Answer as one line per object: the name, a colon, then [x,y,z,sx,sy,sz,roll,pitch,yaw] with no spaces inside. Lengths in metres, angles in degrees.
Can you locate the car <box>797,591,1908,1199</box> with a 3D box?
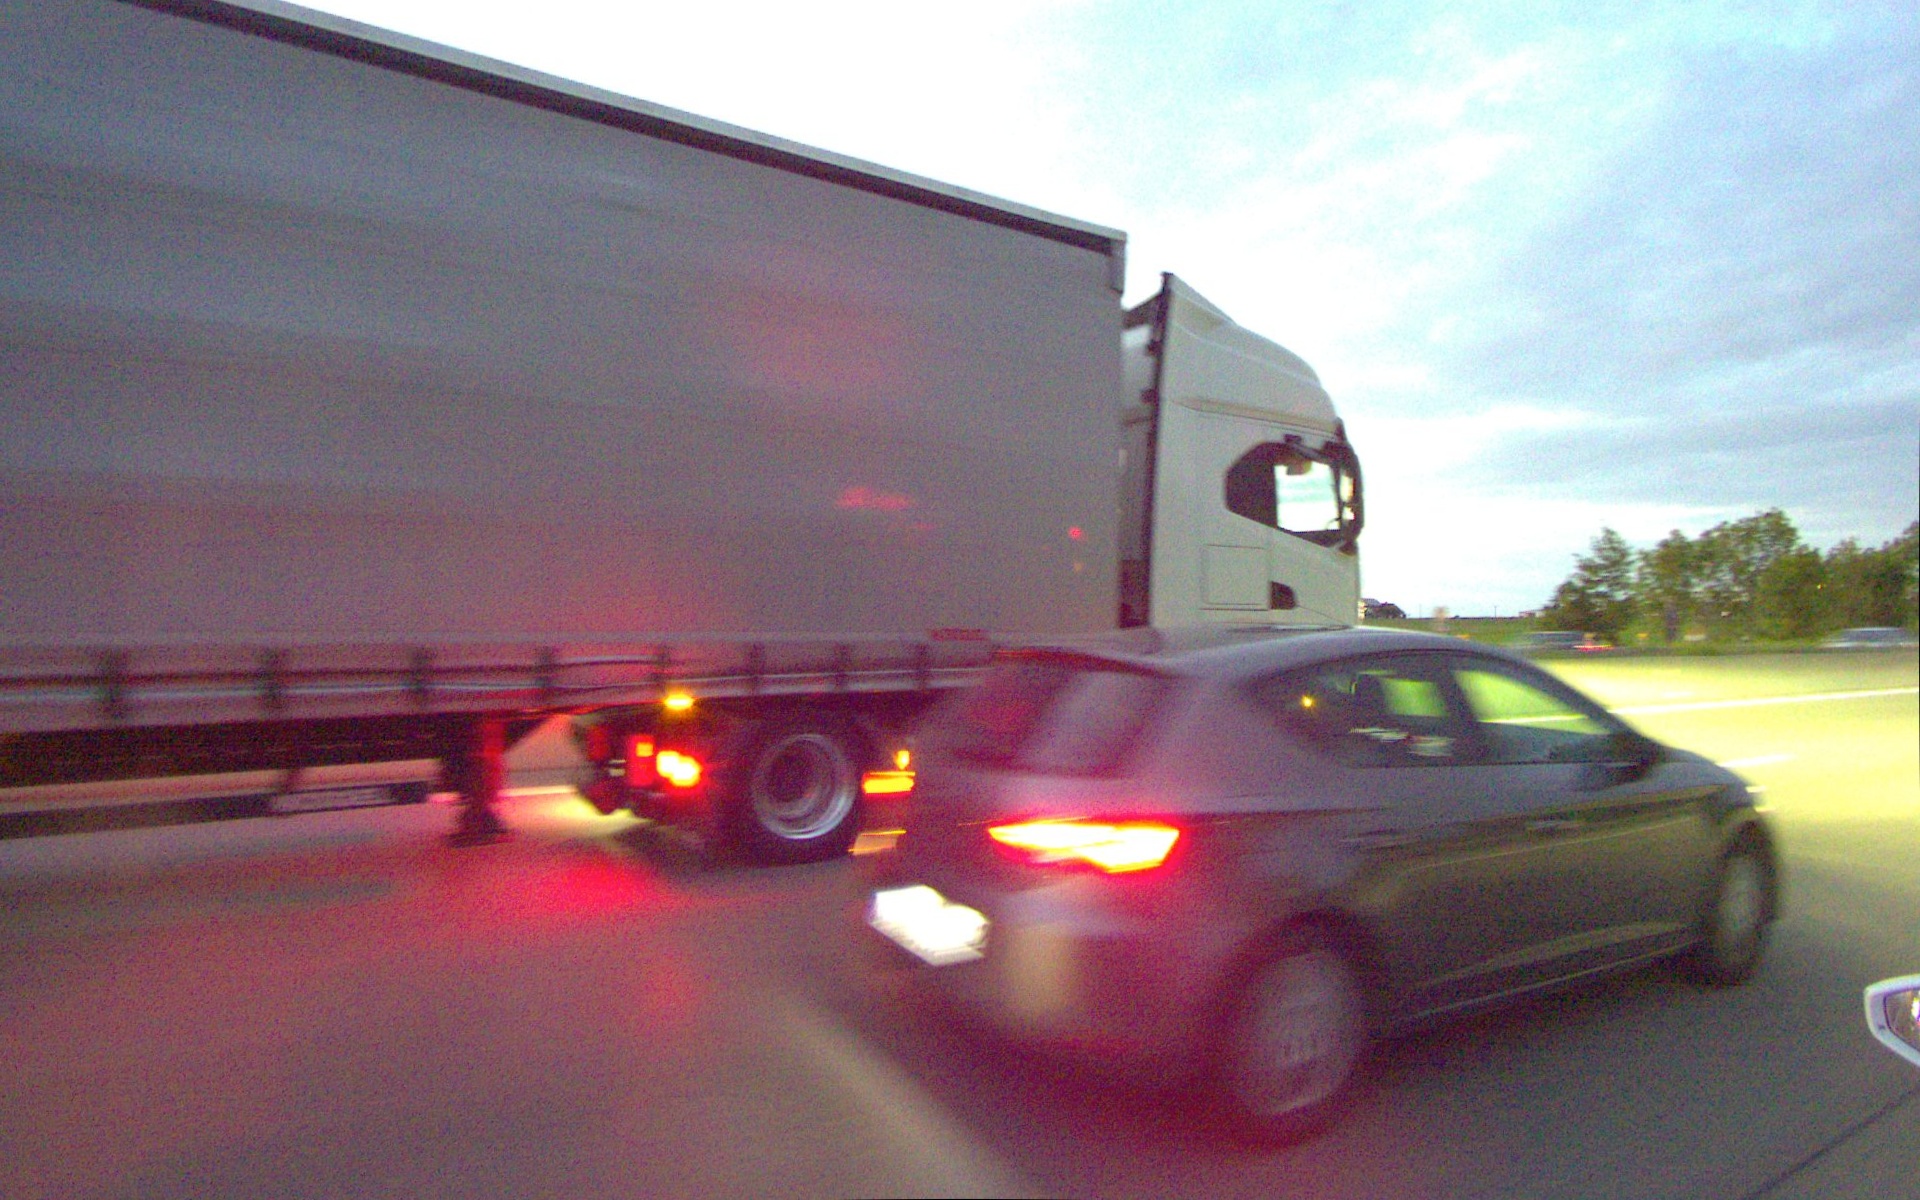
car: [1.847,0.786,4.160,4.669,1.491,1.715,2,0,-29]

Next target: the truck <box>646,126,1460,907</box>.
truck: [0.902,-0.355,8.060,6.032,4.146,2.764,2,-2,-30]

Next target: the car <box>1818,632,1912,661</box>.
car: [34.252,1.758,38.018,3.524,1.002,1.684,2,-1,-31]

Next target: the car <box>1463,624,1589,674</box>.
car: [18.845,1.608,33.407,3.955,1.508,1.983,2,-1,-31]

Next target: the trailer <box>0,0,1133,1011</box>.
trailer: [-5.743,-0.559,4.112,14.356,4.139,2.781,2,-2,-31]
